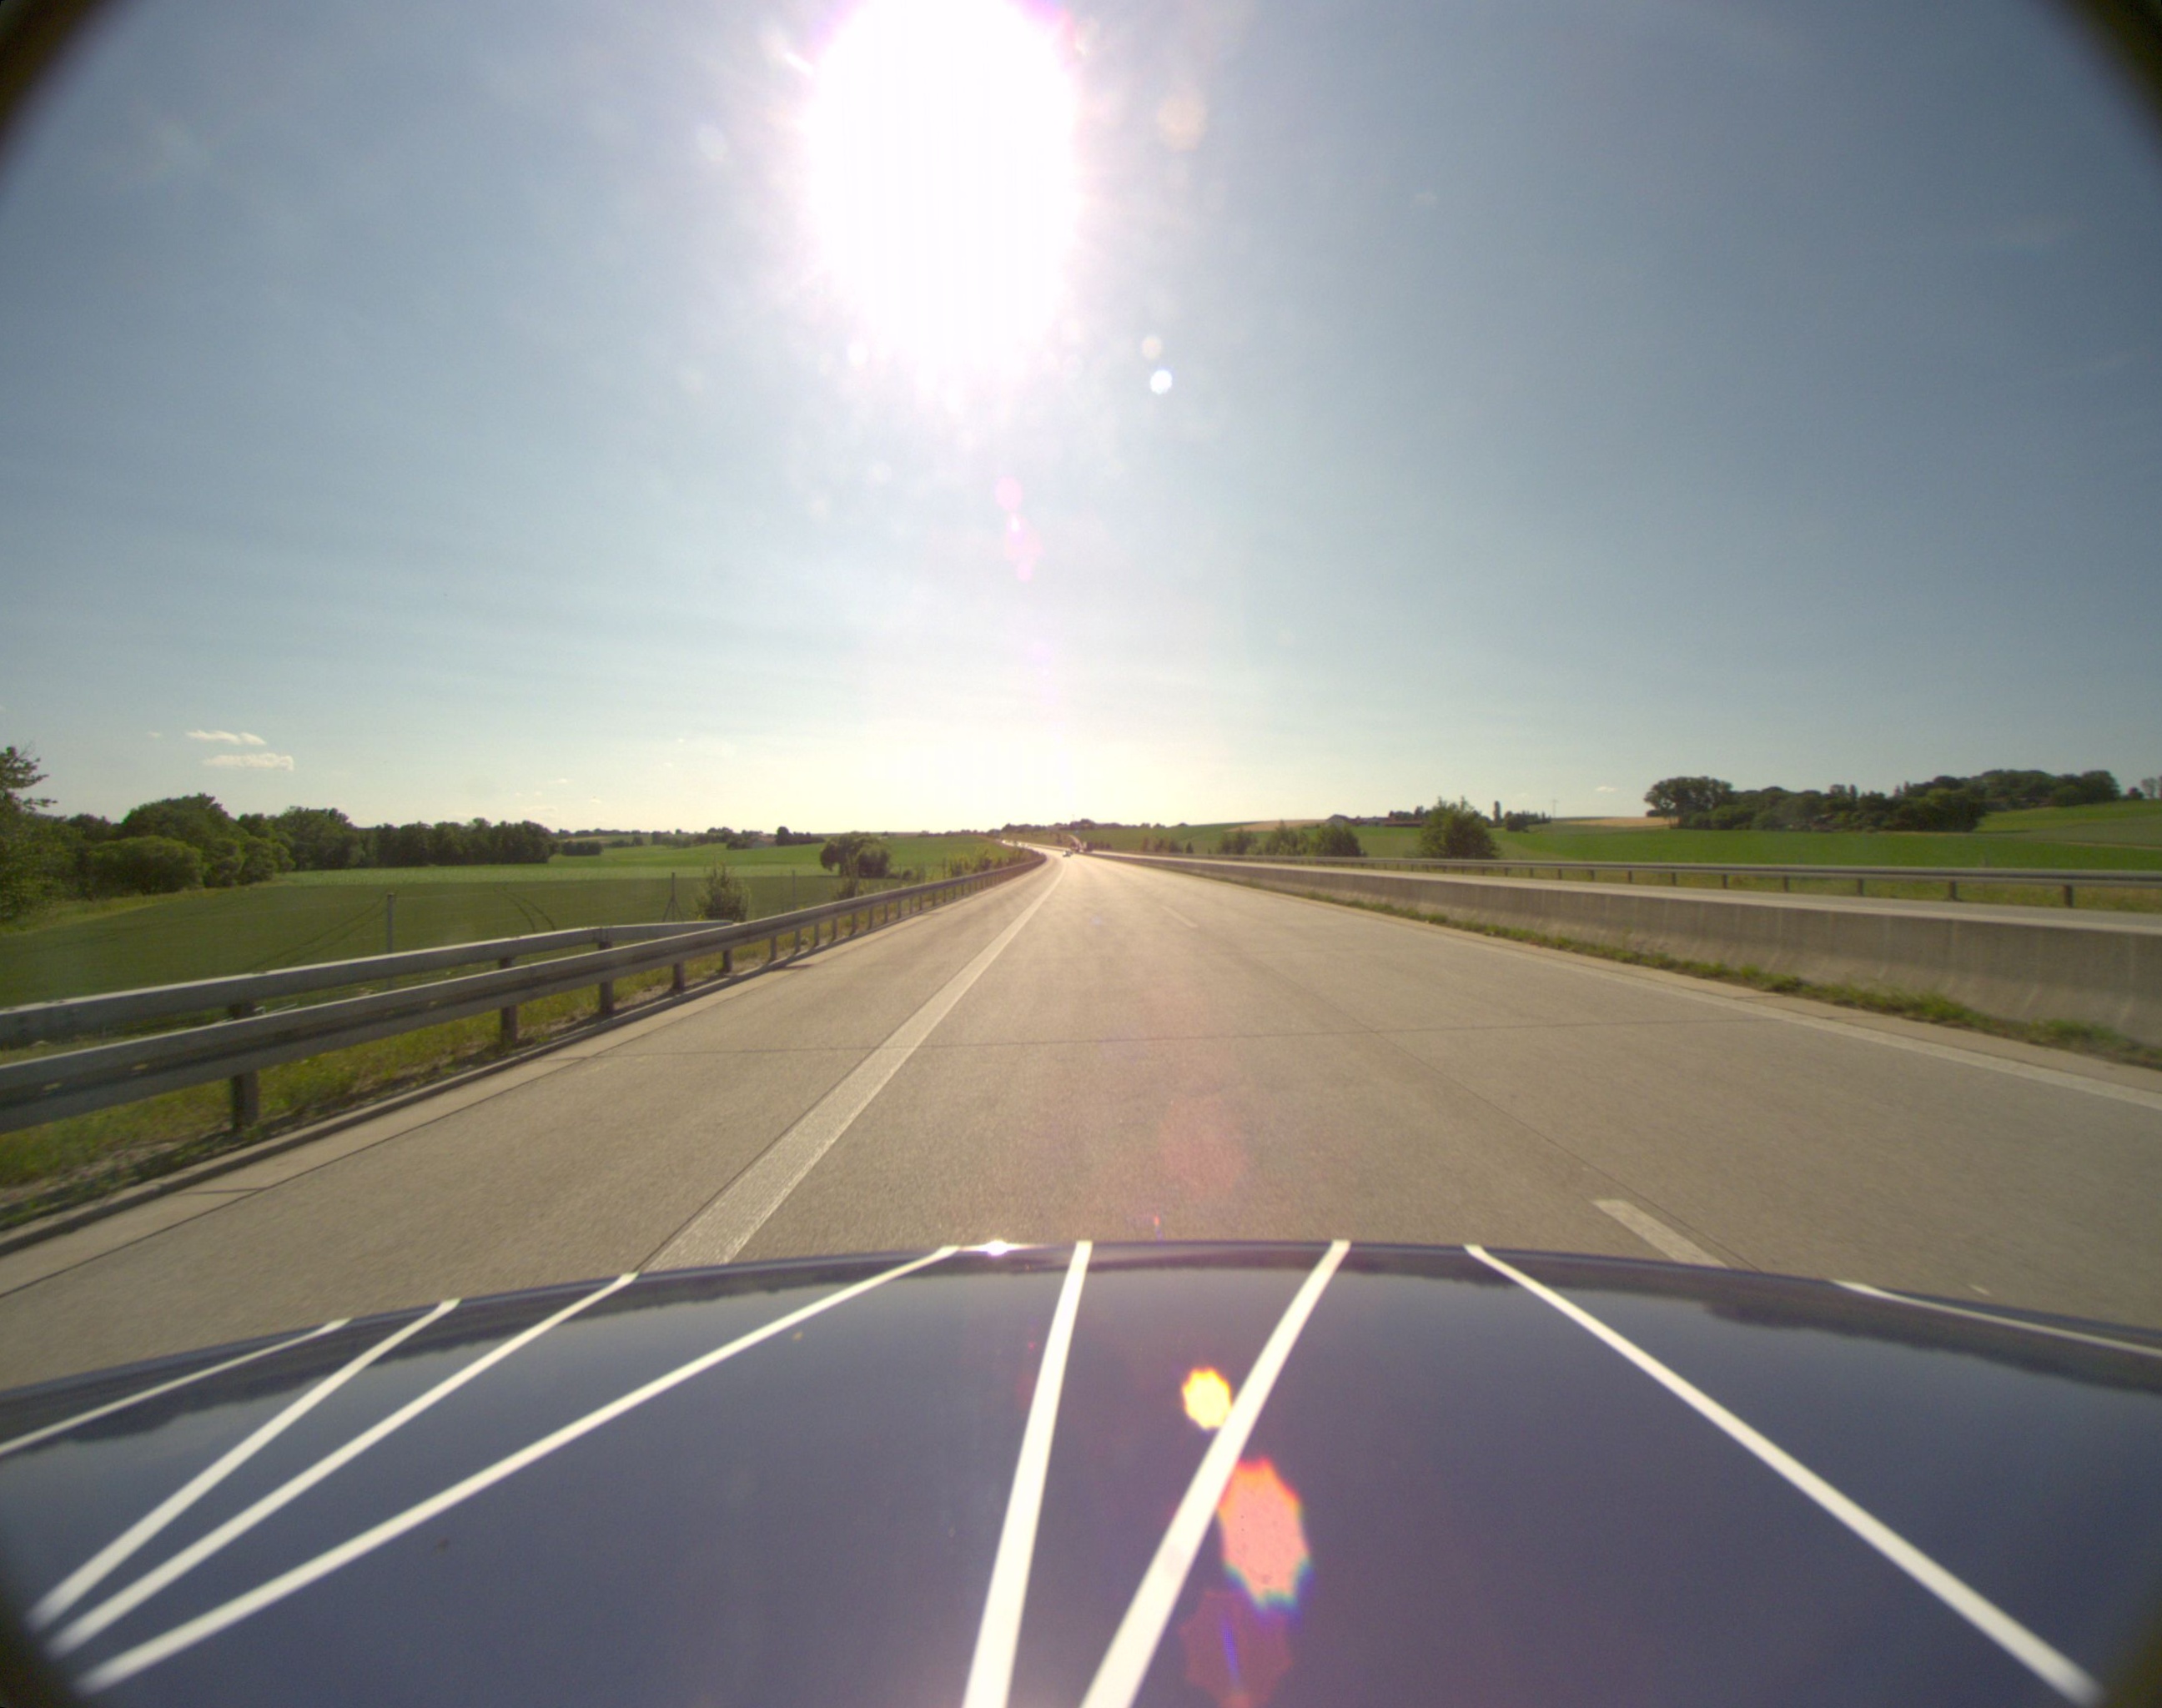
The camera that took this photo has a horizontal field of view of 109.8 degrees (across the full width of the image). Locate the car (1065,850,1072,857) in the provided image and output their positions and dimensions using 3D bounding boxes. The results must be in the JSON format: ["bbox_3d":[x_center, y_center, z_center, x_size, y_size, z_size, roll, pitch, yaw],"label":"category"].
[{"bbox_3d":[-3.209,-0.117,191.990,1.715,1.580,4.625,-2,2,-1],"label":"car"}]

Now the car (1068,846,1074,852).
[{"bbox_3d":[-3.185,-1.538,237.412,1.715,1.580,4.625,-2,2,-3],"label":"car"}]
